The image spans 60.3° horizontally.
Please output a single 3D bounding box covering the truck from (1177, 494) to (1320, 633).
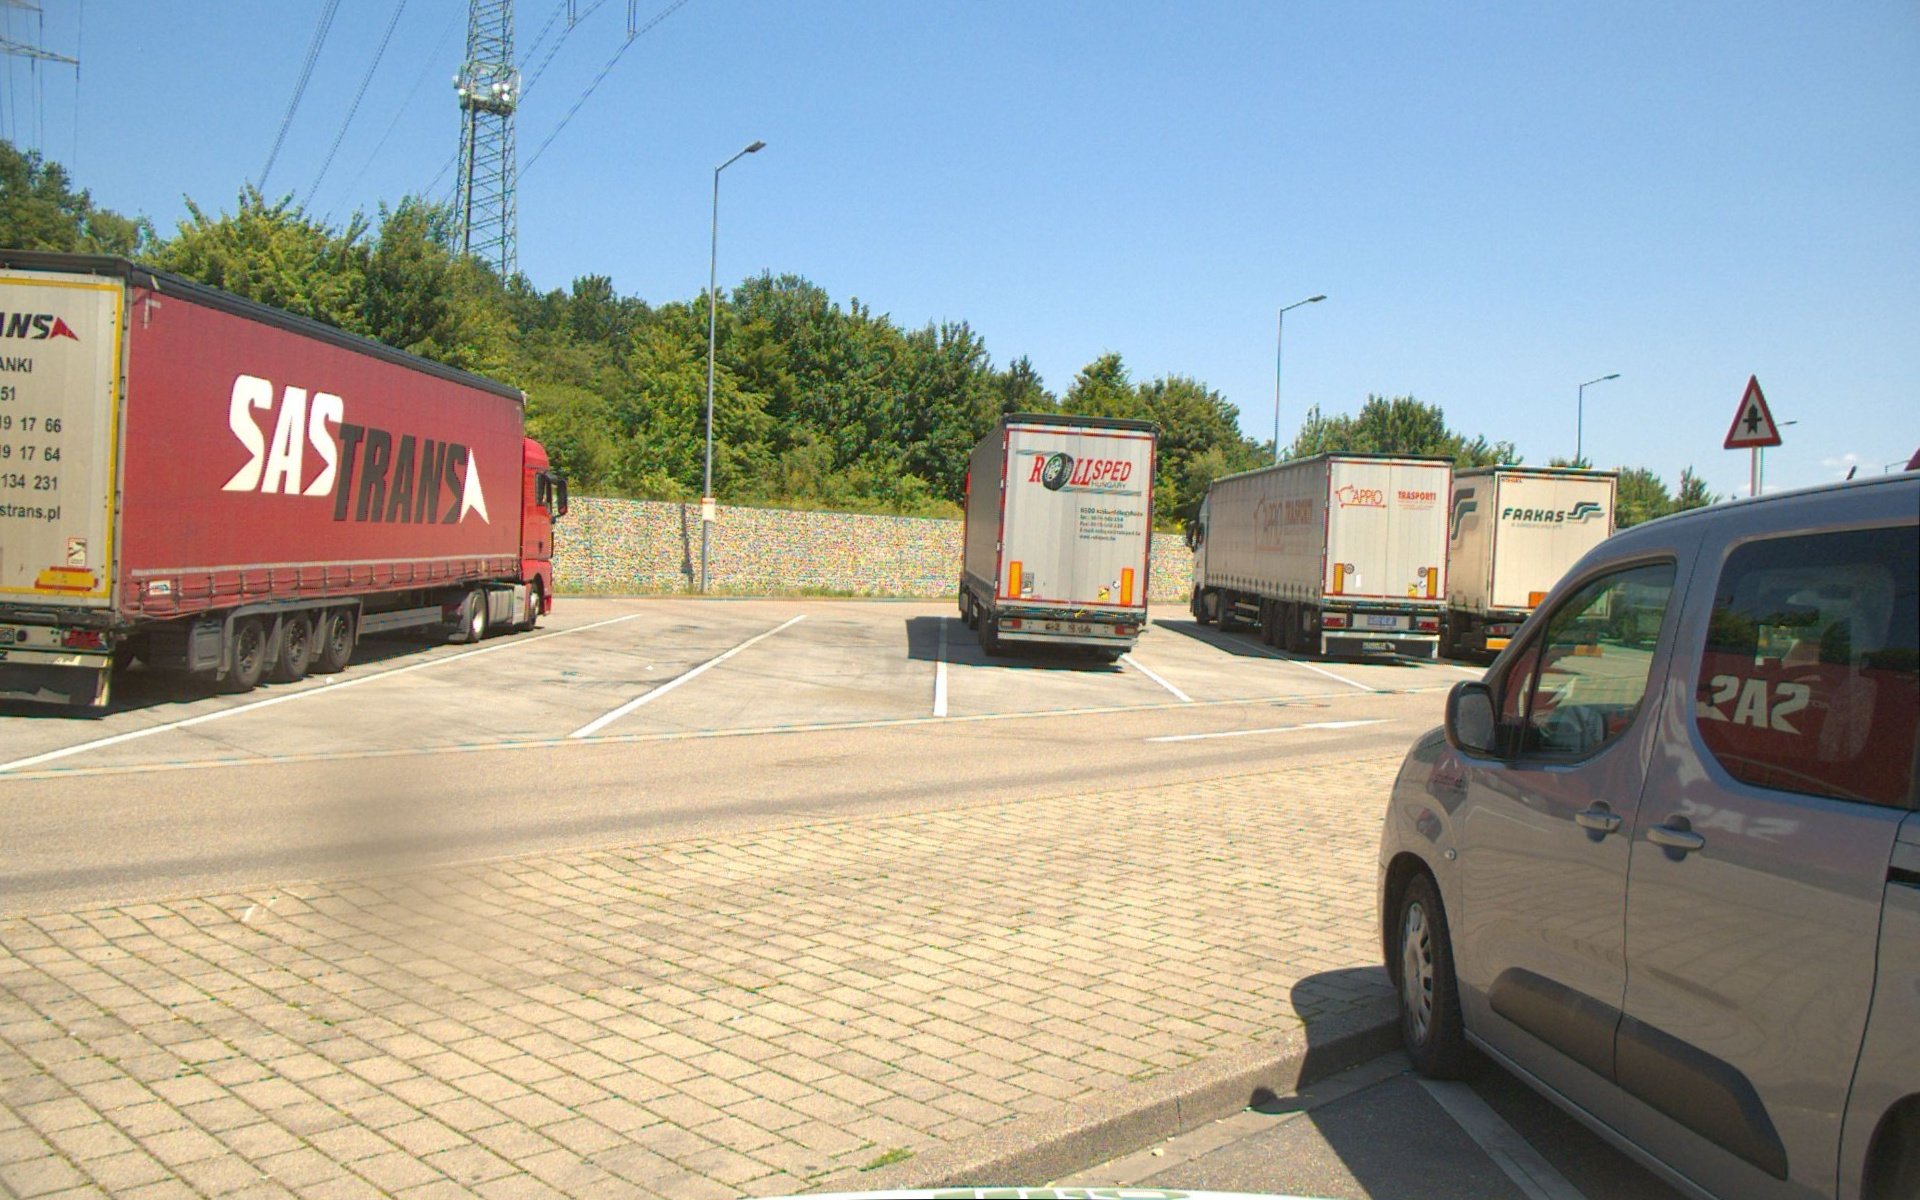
[{"bbox_3d":[8.061,-1.091,46.976,2.804,3.582,5.900,3,2,-1],"label":"truck"}]

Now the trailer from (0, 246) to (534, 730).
[{"bbox_3d":[-8.719,-1.290,21.462,2.735,4.155,14.131,3,2,-1],"label":"trailer"}]

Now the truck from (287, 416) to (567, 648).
[{"bbox_3d":[-8.784,-1.150,28.032,2.793,3.385,5.900,3,2,-1],"label":"truck"}]

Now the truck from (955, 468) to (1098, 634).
[{"bbox_3d":[1.509,-1.239,40.558,3.041,3.628,5.900,3,2,-1],"label":"truck"}]

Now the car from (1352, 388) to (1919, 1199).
[{"bbox_3d":[2.446,0.603,3.882,1.832,1.896,4.174,3,1,-2],"label":"car"}]

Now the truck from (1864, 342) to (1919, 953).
[{"bbox_3d":[5.008,0.200,5.005,1.937,2.668,5.307,1,0,4],"label":"truck"}]

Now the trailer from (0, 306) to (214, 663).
[{"bbox_3d":[-12.545,-1.336,17.739,2.739,4.155,14.131,3,2,-1],"label":"trailer"}]

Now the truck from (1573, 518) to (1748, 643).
[{"bbox_3d":[21.774,-0.693,51.761,2.746,3.582,5.900,3,2,-1],"label":"truck"}]

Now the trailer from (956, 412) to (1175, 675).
[{"bbox_3d":[1.666,-1.193,33.668,3.070,4.058,14.393,3,2,-1],"label":"trailer"}]

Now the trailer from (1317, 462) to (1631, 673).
[{"bbox_3d":[11.741,-0.934,39.981,2.754,4.058,14.395,3,2,-1],"label":"trailer"}]

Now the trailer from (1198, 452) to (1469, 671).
[{"bbox_3d":[8.178,-1.028,38.876,2.754,4.058,14.395,3,2,-1],"label":"trailer"}]

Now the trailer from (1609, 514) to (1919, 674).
[{"bbox_3d":[21.851,-0.389,44.531,2.754,3.568,14.395,3,2,-1],"label":"trailer"}]
